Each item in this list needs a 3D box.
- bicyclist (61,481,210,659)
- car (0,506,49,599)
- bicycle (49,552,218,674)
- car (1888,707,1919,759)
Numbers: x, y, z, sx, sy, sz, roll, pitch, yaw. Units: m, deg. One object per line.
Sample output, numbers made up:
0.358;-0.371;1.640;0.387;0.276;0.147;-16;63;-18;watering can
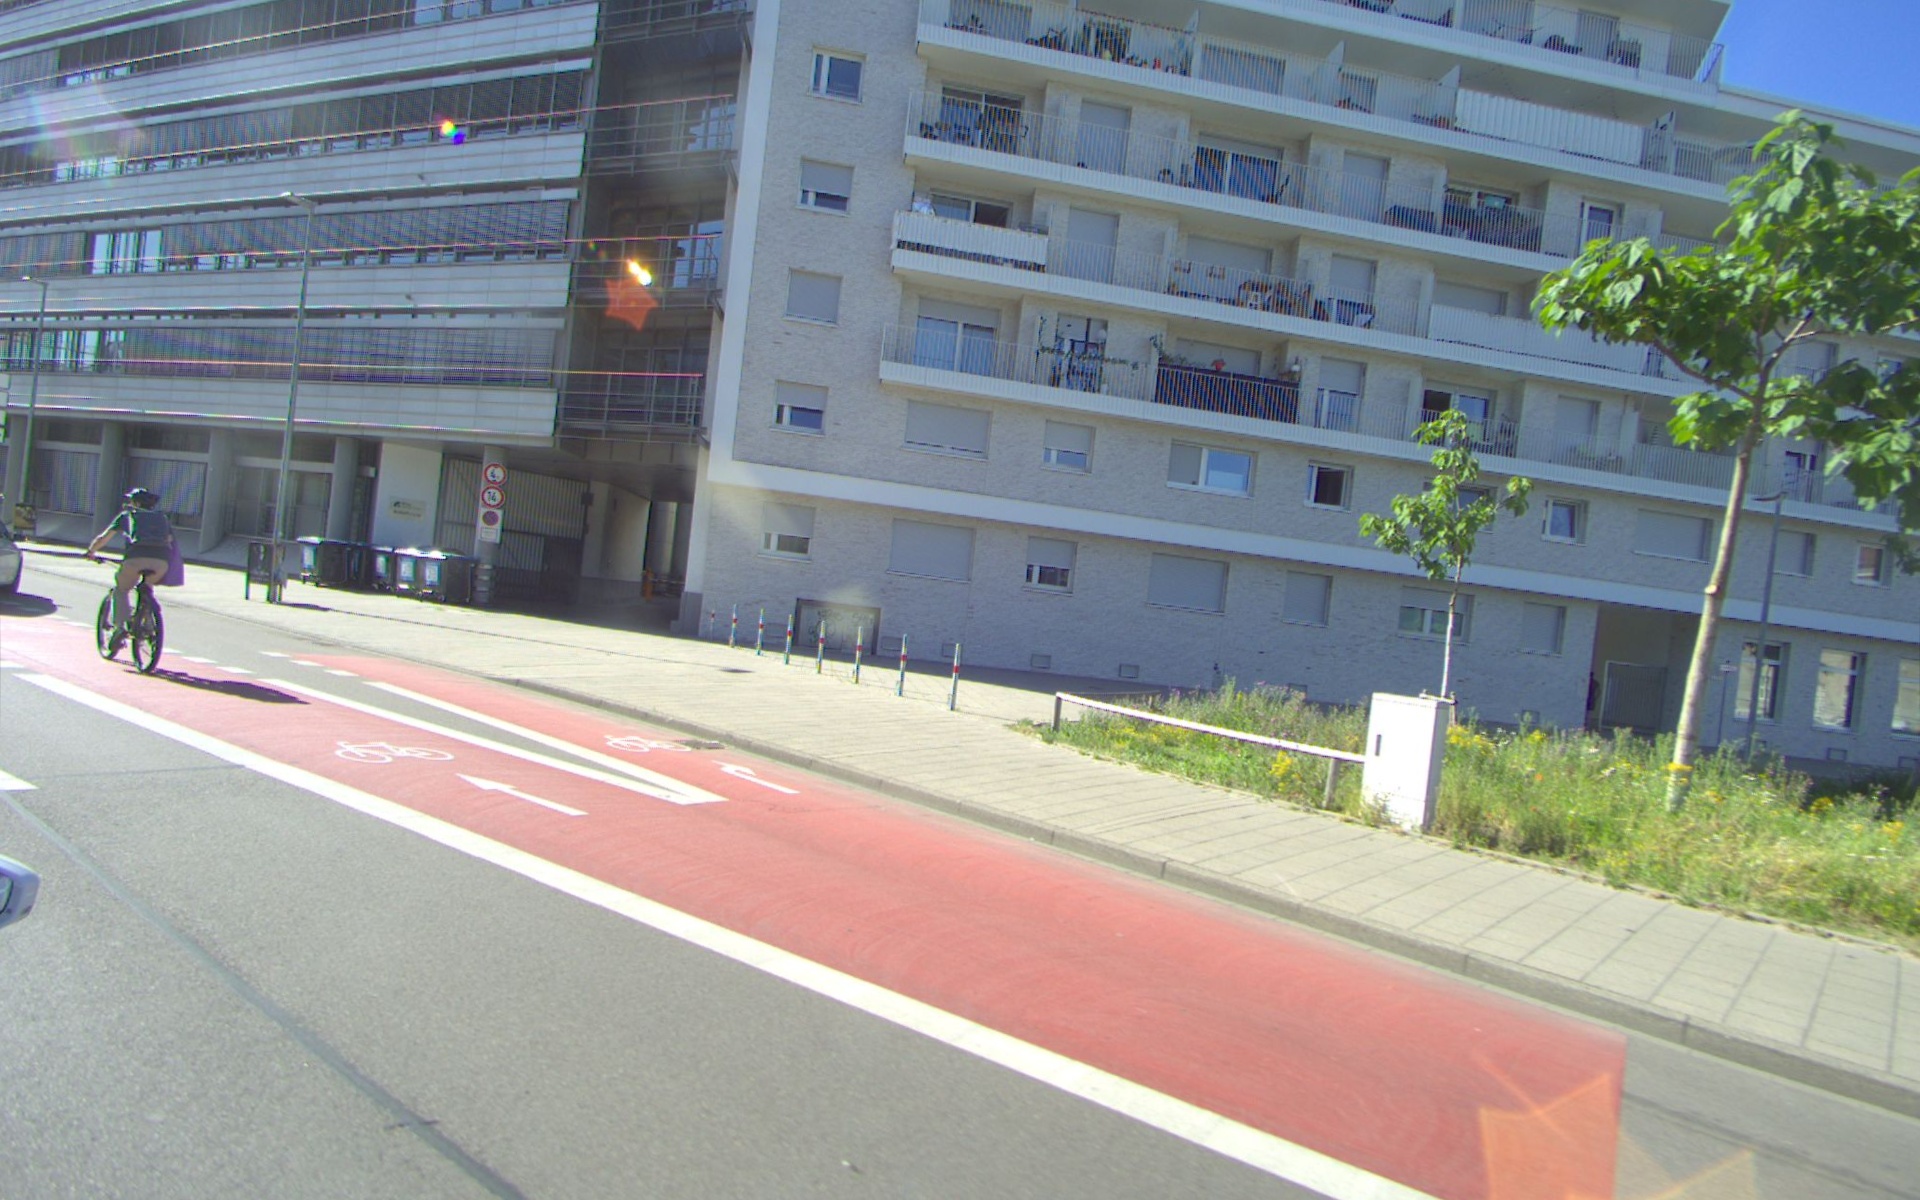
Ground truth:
-8.668;-0.314;10.578;1.035;1.713;0.807;7;-1;35;bicyclist
-16.008;-0.878;15.829;1.763;1.419;4.255;9;-3;-34;car
-8.773;0.125;10.660;1.862;1.049;0.826;6;-2;35;bicycle
44.299;6.138;44.621;4.561;2.138;1.998;7;0;-7;car
